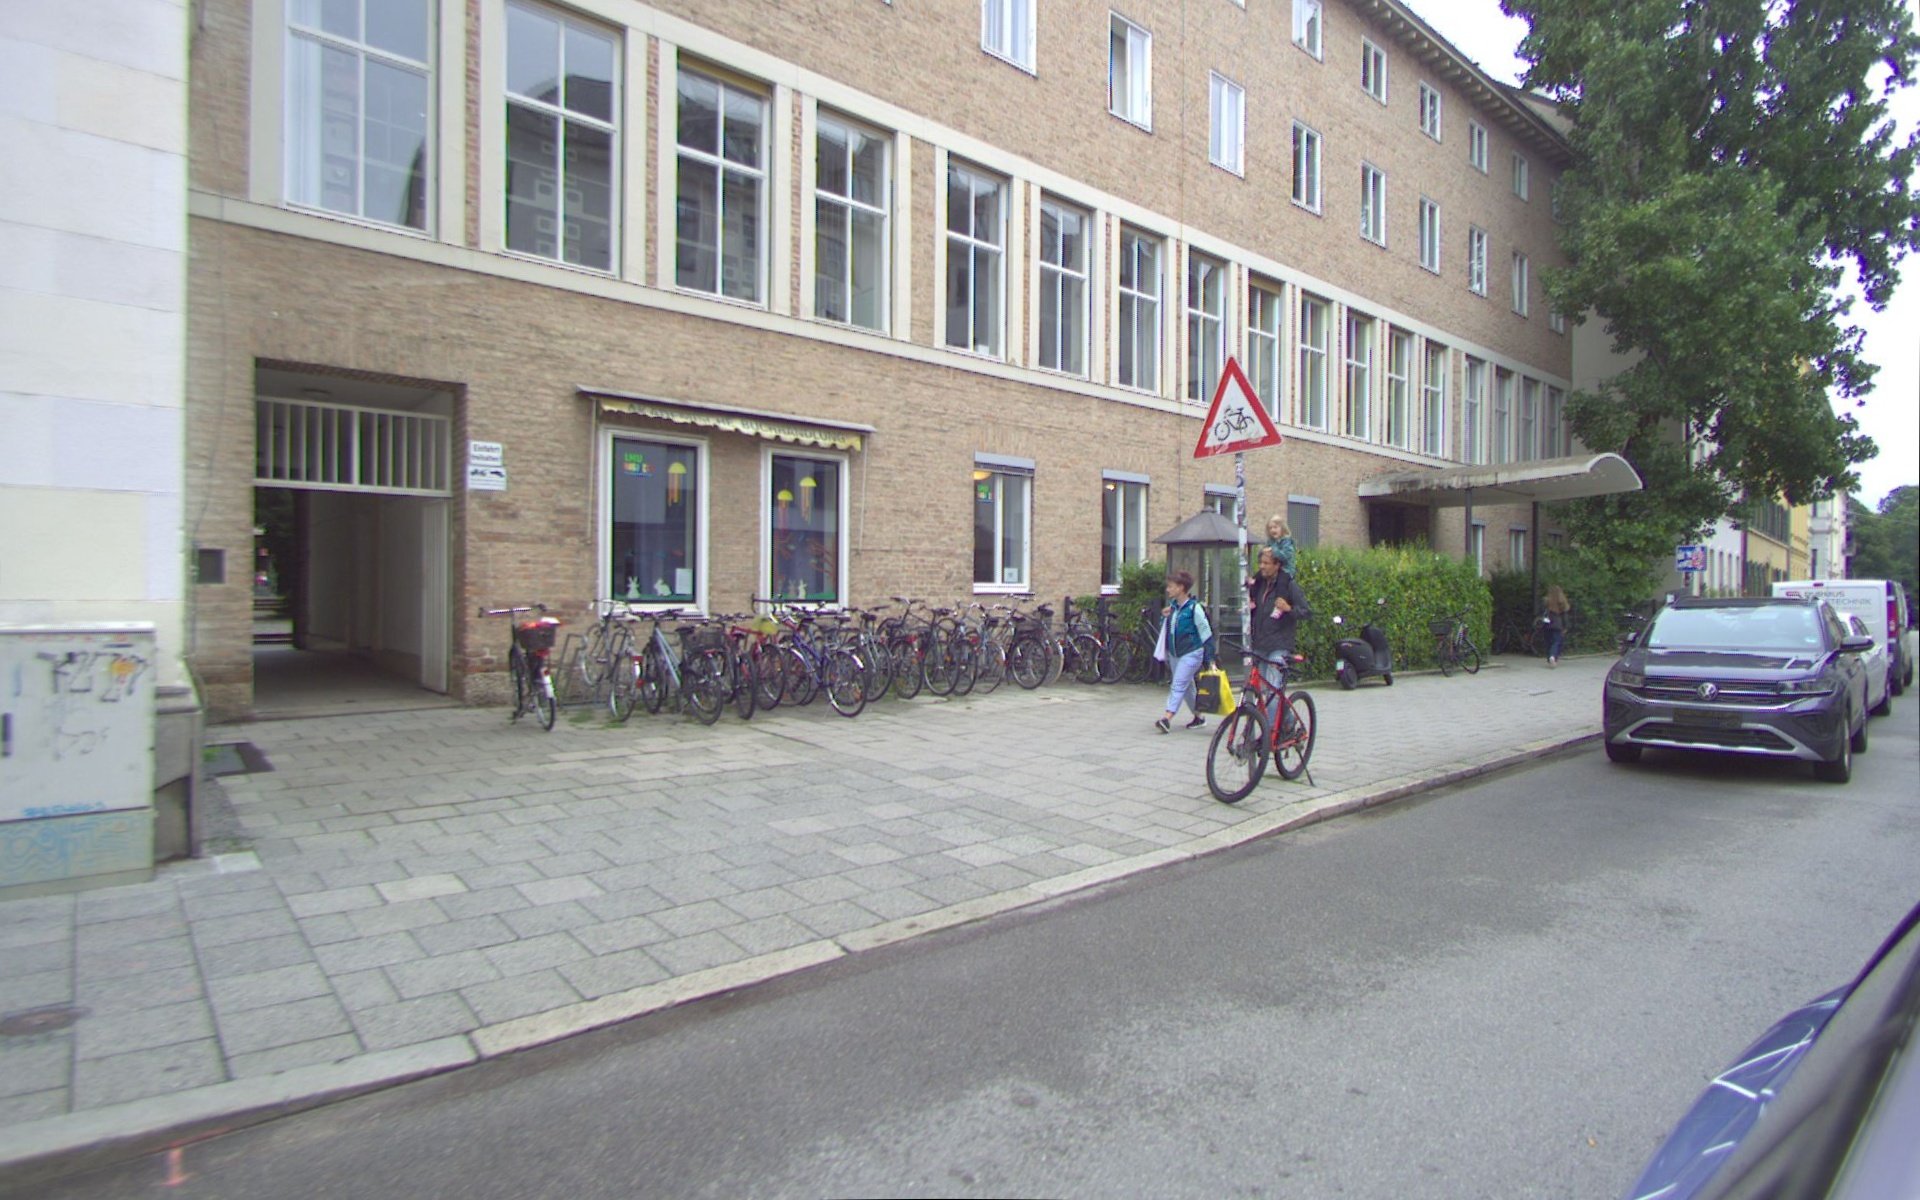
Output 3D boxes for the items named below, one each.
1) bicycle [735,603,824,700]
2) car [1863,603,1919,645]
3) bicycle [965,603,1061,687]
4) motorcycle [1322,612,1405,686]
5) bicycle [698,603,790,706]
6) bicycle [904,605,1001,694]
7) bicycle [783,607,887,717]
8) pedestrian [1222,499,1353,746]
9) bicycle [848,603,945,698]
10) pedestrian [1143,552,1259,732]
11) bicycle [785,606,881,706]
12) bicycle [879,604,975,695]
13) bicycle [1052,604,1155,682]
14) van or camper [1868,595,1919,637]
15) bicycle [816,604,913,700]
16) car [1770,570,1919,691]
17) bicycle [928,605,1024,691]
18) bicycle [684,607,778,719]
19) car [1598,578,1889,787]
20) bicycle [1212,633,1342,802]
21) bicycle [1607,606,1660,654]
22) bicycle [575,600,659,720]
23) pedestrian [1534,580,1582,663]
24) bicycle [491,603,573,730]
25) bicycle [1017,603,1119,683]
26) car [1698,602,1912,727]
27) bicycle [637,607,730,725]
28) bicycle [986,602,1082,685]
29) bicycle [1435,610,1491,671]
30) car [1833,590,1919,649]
[{"bbox_3d":[-2.169,0.584,12.054,0.342,1.055,1.431,1,1,-41],"label":"bicycle"},{"bbox_3d":[34.810,0.856,37.688,1.712,1.442,4.389,0,0,42],"label":"car"},{"bbox_3d":[0.713,0.602,14.070,0.342,1.055,1.634,1,1,-37],"label":"bicycle"},{"bbox_3d":[6.226,0.721,15.570,0.488,1.067,1.892,-1,-1,45],"label":"motorcycle"},{"bbox_3d":[-2.493,0.588,11.567,0.342,1.055,1.634,1,1,-37],"label":"bicycle"},{"bbox_3d":[-0.127,0.618,13.307,0.342,1.055,1.634,1,1,-37],"label":"bicycle"},{"bbox_3d":[-1.357,0.623,10.795,0.342,1.055,1.431,1,1,-41],"label":"bicycle"},{"bbox_3d":[3.108,0.195,9.643,0.779,2.224,0.815,1,2,-27],"label":"pedestrian"},{"bbox_3d":[-0.819,0.595,12.623,0.342,1.055,1.634,1,1,-37],"label":"bicycle"},{"bbox_3d":[2.428,0.396,10.245,0.736,1.714,0.861,1,0,-30],"label":"pedestrian"},{"bbox_3d":[-1.534,0.629,12.045,0.342,1.055,1.634,1,1,-37],"label":"bicycle"},{"bbox_3d":[-0.455,0.606,13.058,0.342,1.055,1.634,1,1,-37],"label":"bicycle"},{"bbox_3d":[2.102,0.608,14.996,0.343,1.055,1.631,1,1,-44],"label":"bicycle"},{"bbox_3d":[48.301,0.811,52.291,1.993,2.039,5.151,1,0,43],"label":"van or camper"},{"bbox_3d":[-1.191,0.601,12.346,0.342,1.055,1.634,1,1,-37],"label":"bicycle"},{"bbox_3d":[16.529,0.495,18.688,4.793,1.949,1.883,1,0,-44],"label":"car"},{"bbox_3d":[0.189,0.619,13.702,0.342,1.055,1.634,1,1,-37],"label":"bicycle"},{"bbox_3d":[-2.467,0.626,10.789,0.342,1.055,1.635,1,1,-36],"label":"bicycle"},{"bbox_3d":[7.696,0.640,9.804,3.891,1.614,1.748,0,-1,-45],"label":"car"},{"bbox_3d":[2.380,0.808,7.494,0.346,1.054,1.613,3,2,37],"label":"bicycle"},{"bbox_3d":[16.122,0.703,24.209,0.670,1.087,2.188,1,0,44],"label":"bicycle"},{"bbox_3d":[-3.572,0.575,10.478,0.342,1.108,1.635,1,1,-36],"label":"bicycle"},{"bbox_3d":[12.161,0.433,20.590,0.861,1.654,0.588,1,-1,-41],"label":"pedestrian"},{"bbox_3d":[-4.054,0.581,9.527,0.342,1.055,1.635,1,1,-36],"label":"bicycle"},{"bbox_3d":[1.549,0.598,14.737,0.342,1.055,1.631,1,1,-43],"label":"bicycle"},{"bbox_3d":[11.449,0.749,13.610,4.129,1.435,1.675,0,-1,-43],"label":"car"},{"bbox_3d":[-2.836,0.625,10.285,0.342,1.055,1.635,1,1,-36],"label":"bicycle"},{"bbox_3d":[1.020,0.587,14.340,0.342,1.055,1.634,1,1,-37],"label":"bicycle"},{"bbox_3d":[9.155,0.712,18.390,1.462,1.067,0.422,1,-1,-43],"label":"bicycle"},{"bbox_3d":[29.708,0.616,32.742,4.133,1.799,1.847,0,-2,-45],"label":"car"}]
